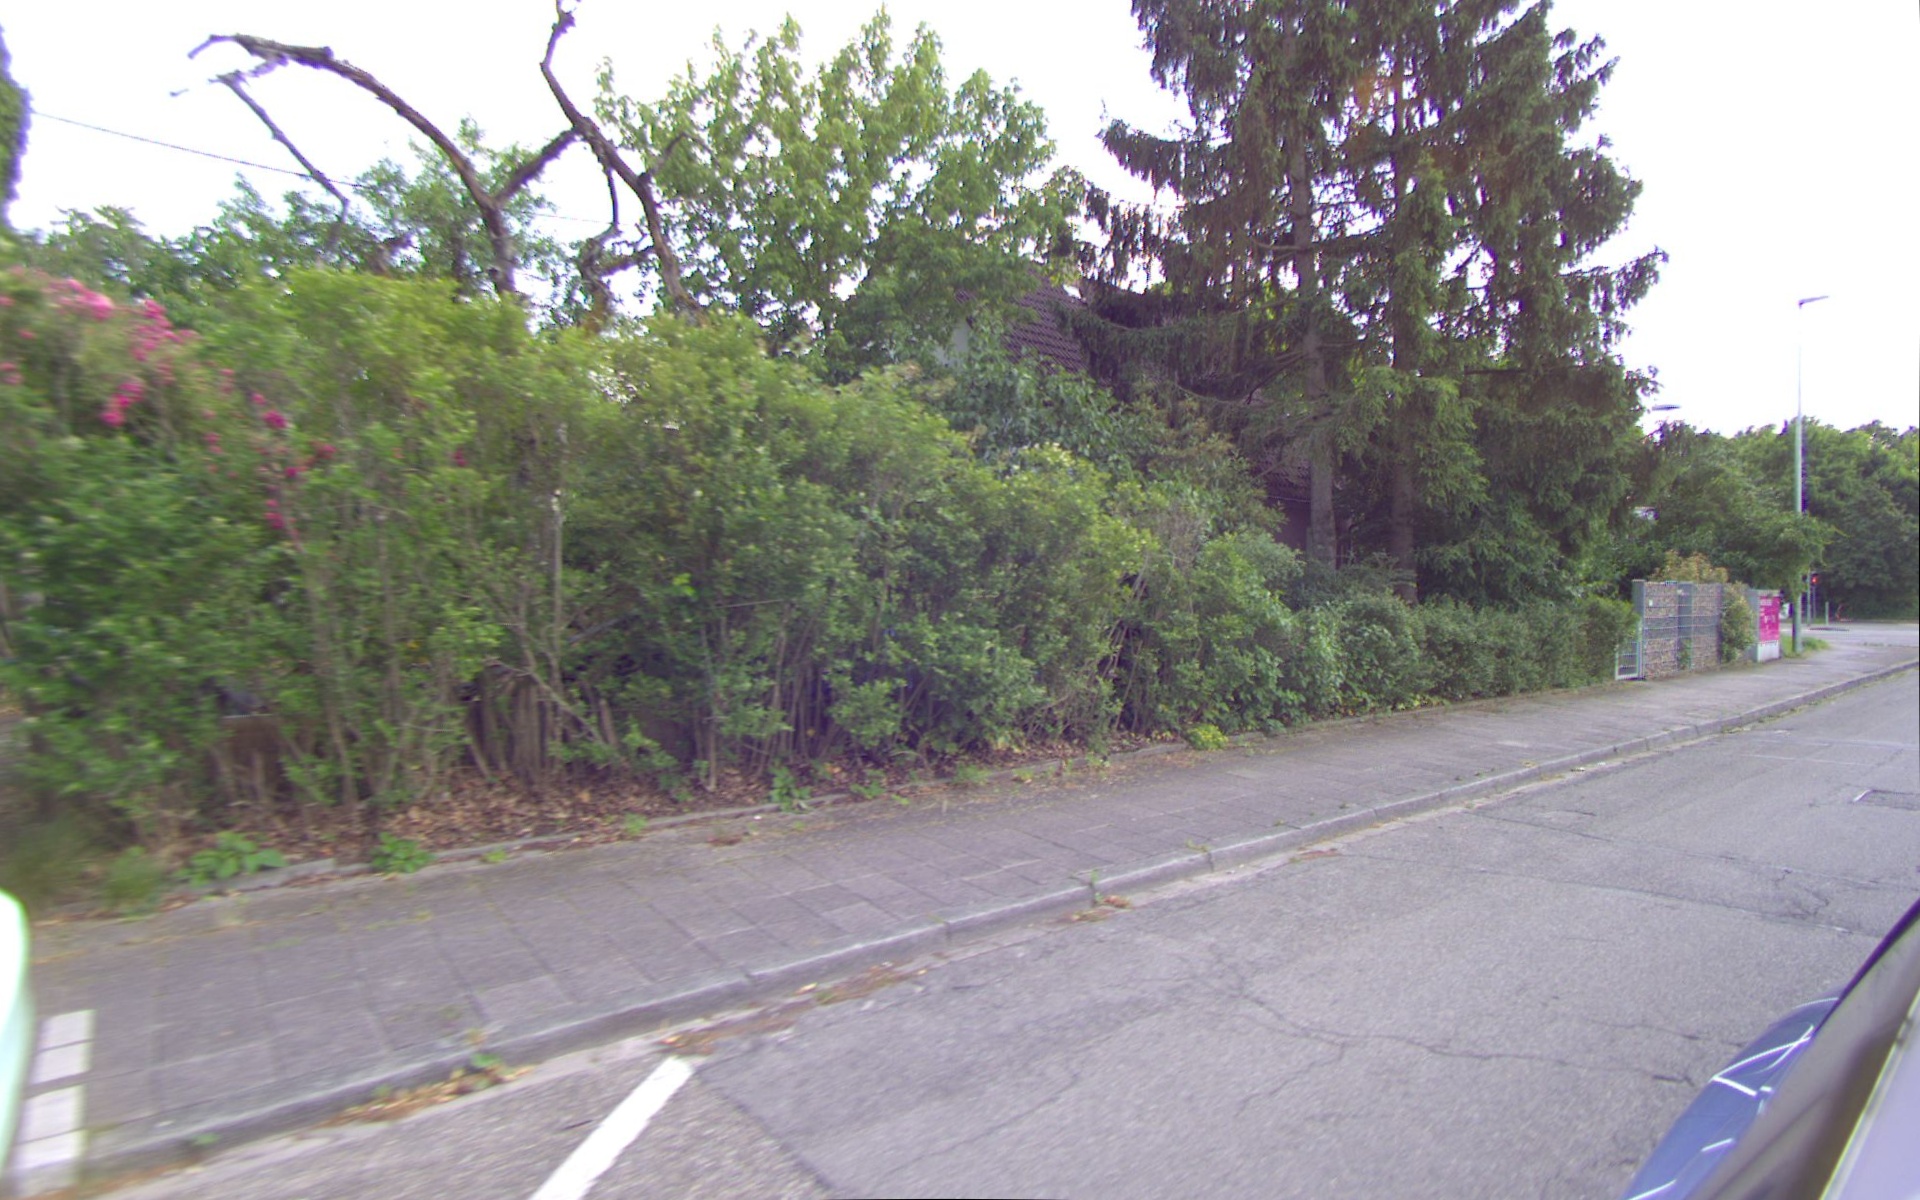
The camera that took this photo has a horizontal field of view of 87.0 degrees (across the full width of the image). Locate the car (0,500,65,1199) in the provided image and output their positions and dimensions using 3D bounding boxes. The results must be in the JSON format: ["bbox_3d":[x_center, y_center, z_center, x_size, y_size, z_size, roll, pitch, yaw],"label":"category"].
[{"bbox_3d":[-3.421,0.606,1.023,3.688,1.539,1.584,0,0,-40],"label":"car"}]

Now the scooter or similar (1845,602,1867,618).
[{"bbox_3d":[57.559,0.629,64.990,1.033,0.953,0.292,2,3,45],"label":"scooter or similar"}]
